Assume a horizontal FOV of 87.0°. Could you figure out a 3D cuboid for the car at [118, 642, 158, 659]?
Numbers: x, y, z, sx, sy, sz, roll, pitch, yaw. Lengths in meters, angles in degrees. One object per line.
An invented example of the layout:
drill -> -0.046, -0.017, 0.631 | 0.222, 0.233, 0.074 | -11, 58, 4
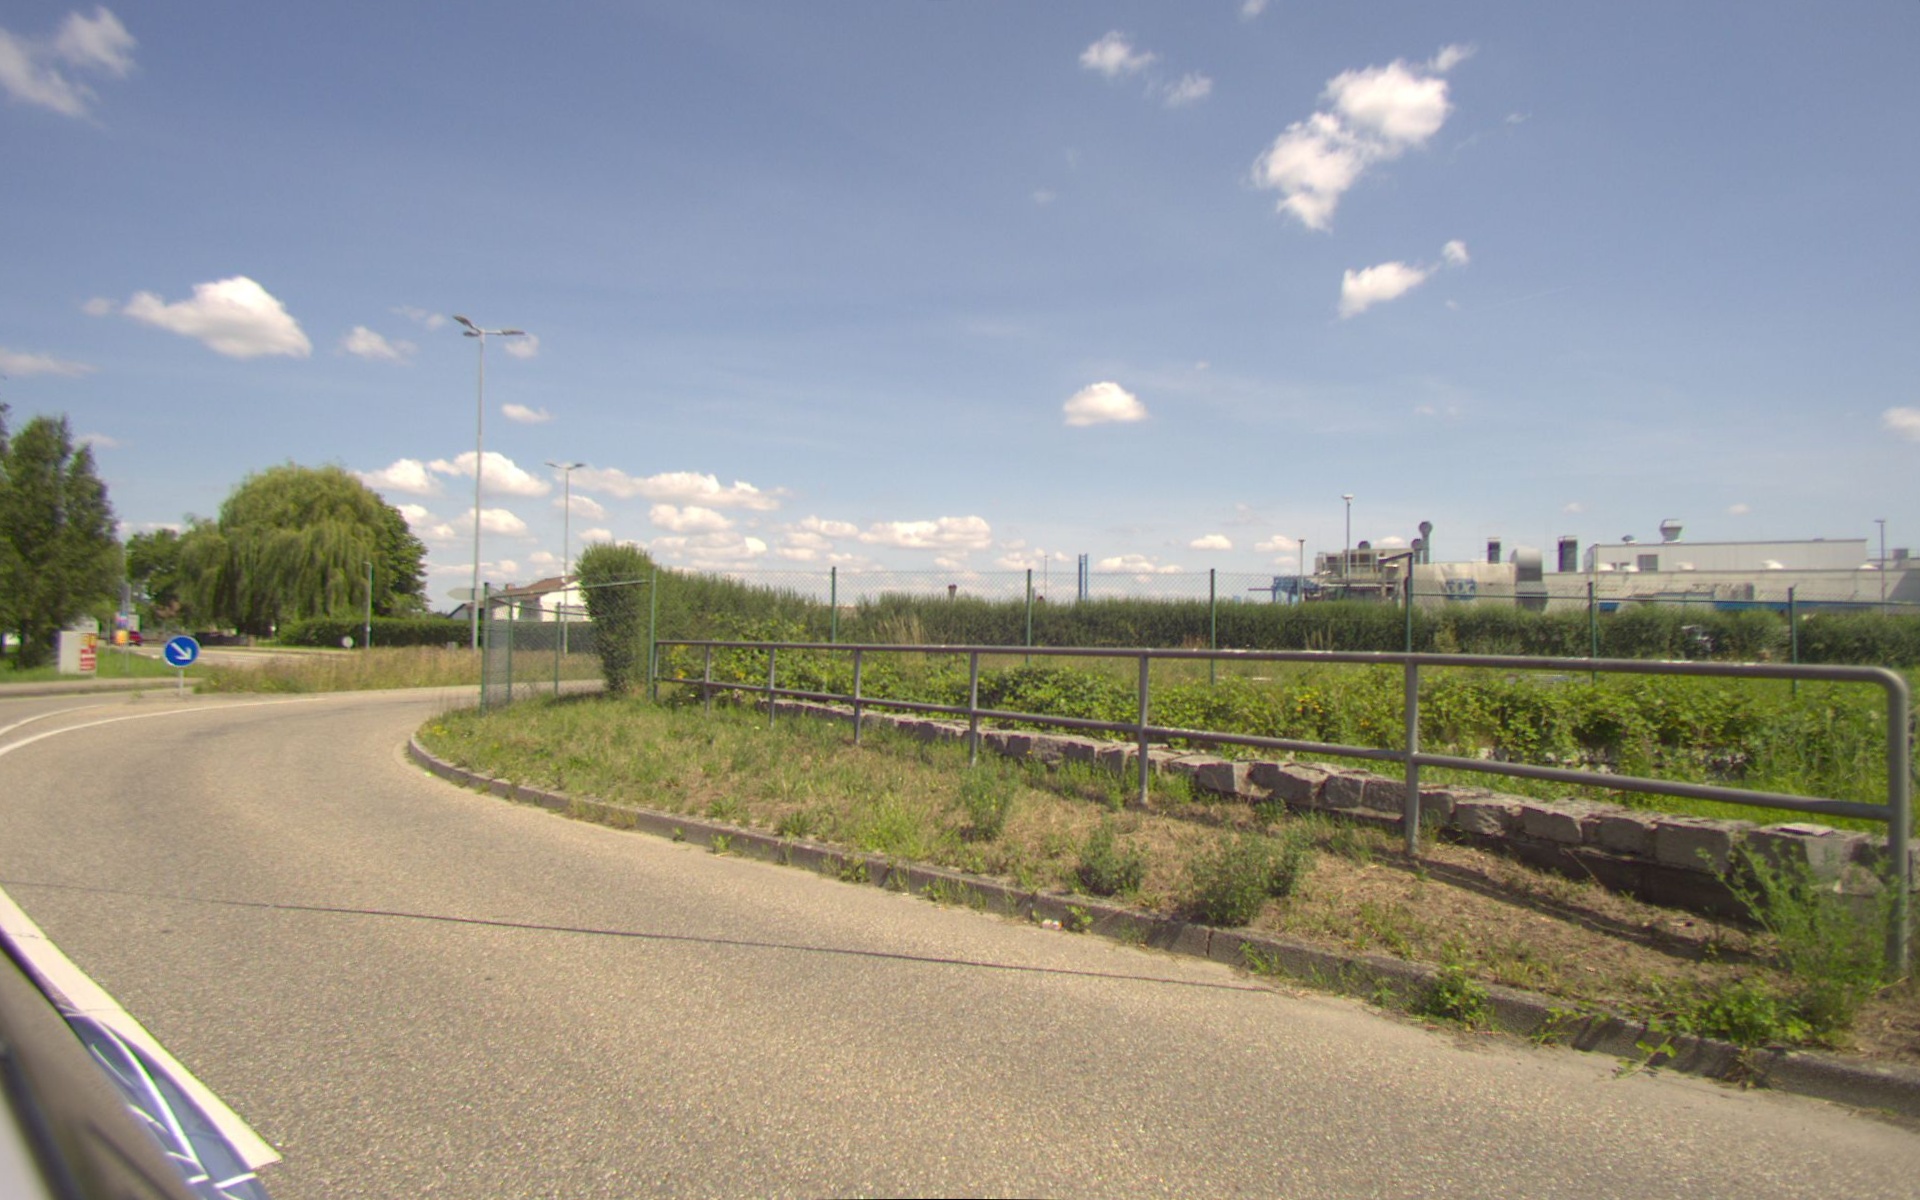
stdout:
car -> -74.128, 4.571, 91.260 | 4.382, 1.475, 1.861 | -2, -4, 39
